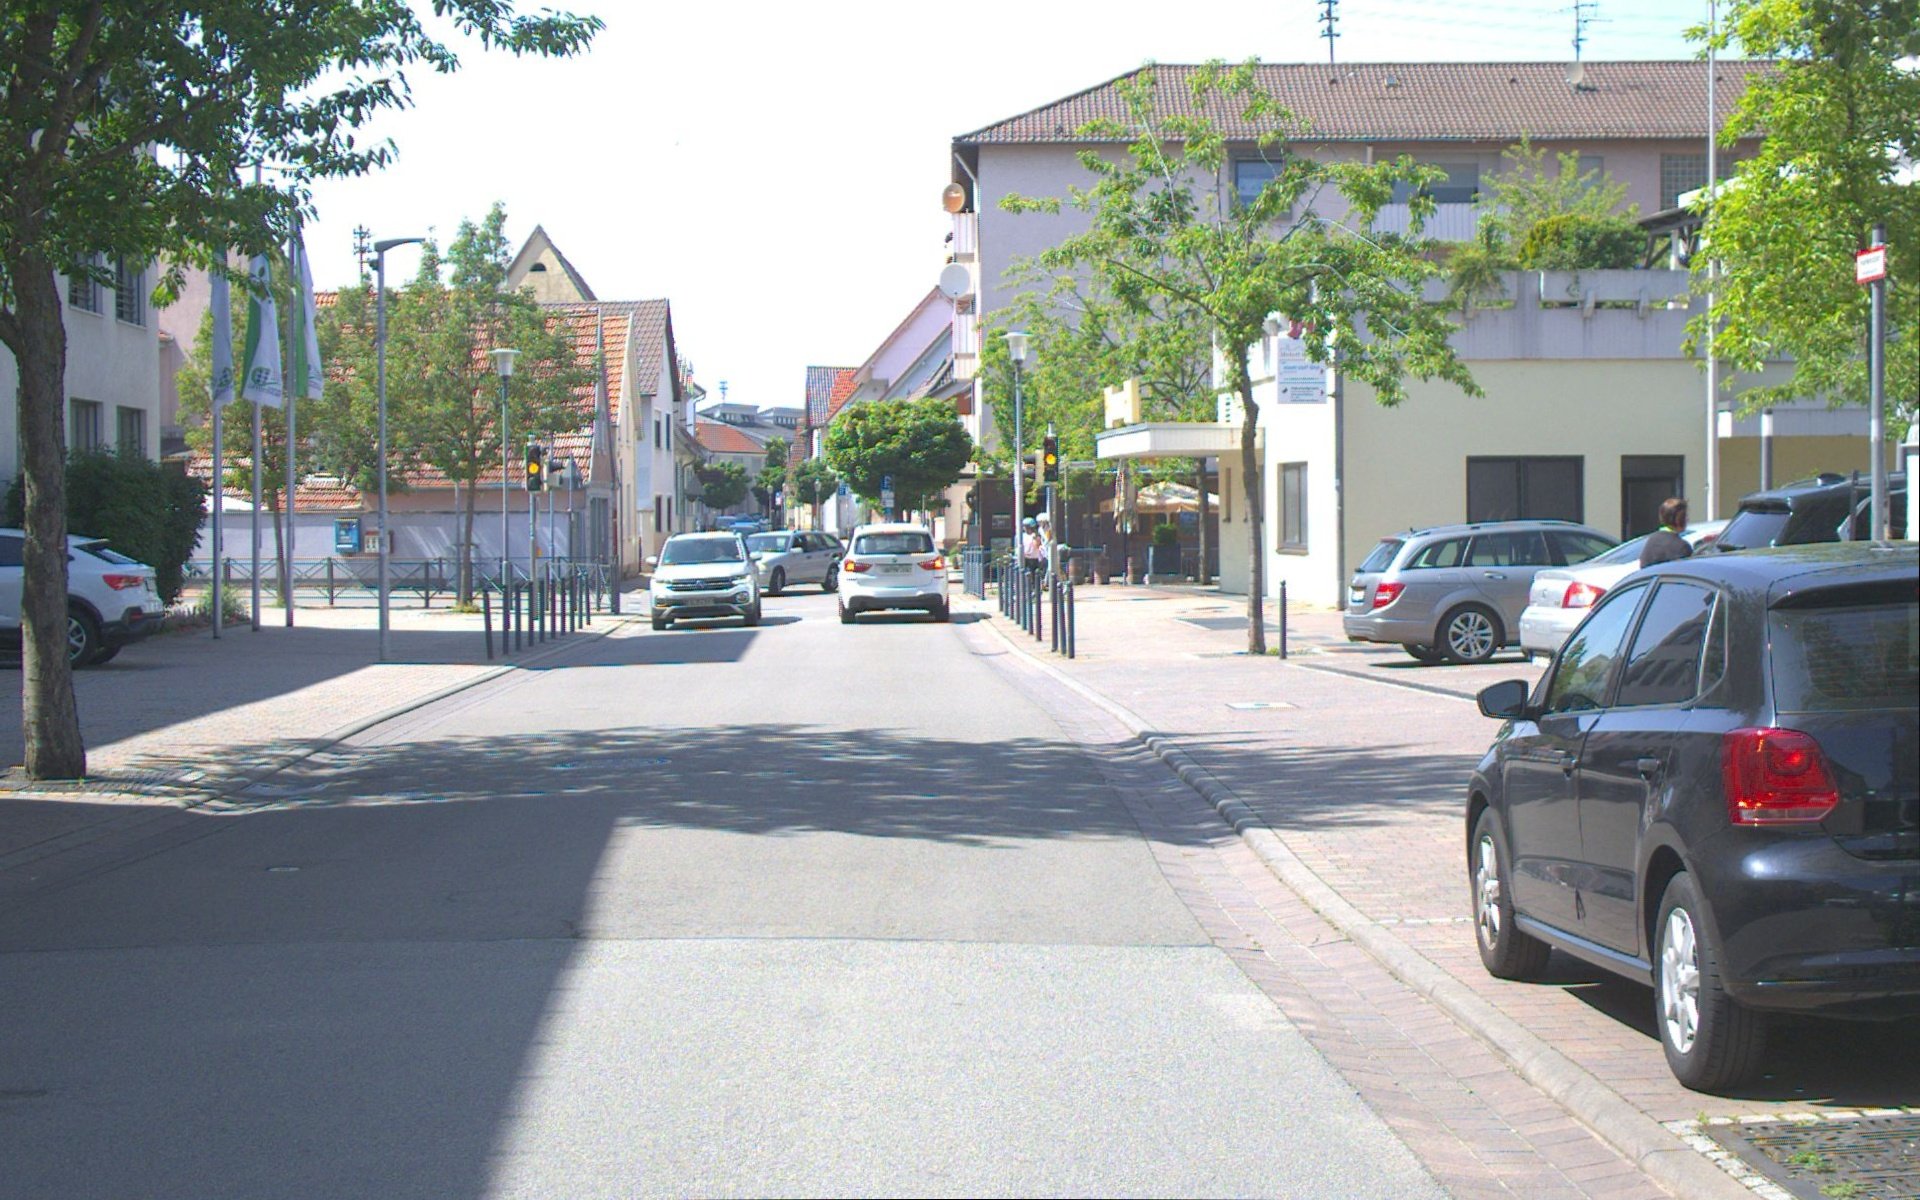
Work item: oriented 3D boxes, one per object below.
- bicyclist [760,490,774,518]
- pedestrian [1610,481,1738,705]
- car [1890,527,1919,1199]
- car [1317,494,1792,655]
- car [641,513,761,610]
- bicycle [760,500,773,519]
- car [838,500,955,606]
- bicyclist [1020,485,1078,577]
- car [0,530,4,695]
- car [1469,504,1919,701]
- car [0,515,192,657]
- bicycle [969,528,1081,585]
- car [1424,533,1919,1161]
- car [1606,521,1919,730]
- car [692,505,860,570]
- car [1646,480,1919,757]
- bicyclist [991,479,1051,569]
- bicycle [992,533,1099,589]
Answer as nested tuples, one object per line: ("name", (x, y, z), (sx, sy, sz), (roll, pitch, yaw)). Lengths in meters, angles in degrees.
("bicyclist", (-10.216, -5.087, 182.062), (0.673, 1.477, 0.770), (-1, 2, -3))
("pedestrian", (5.599, -0.060, 26.991), (0.748, 1.711, 0.699), (-2, 1, -8))
("car", (2.793, 0.618, 4.997), (1.717, 1.476, 4.096), (-1, 1, -1))
("car", (6.286, -0.288, 36.617), (4.574, 1.507, 1.917), (-2, 1, -7))
("car", (-4.356, -0.676, 58.363), (1.851, 1.568, 4.001), (0, 1, -2))
("bicycle", (-10.231, -4.797, 182.098), (0.664, 1.002, 1.898), (-1, 2, -3))
("car", (-1.066, -0.795, 57.500), (1.834, 1.646, 4.000), (2, 1, -1))
("bicyclist", (1.648, -1.272, 63.509), (0.759, 1.658, 0.671), (-3, 2, -32))
("car", (-11.090, 0.170, 30.795), (4.503, 1.548, 1.935), (-1, 2, -2))
("car", (6.676, -0.019, 28.363), (4.535, 1.435, 1.840), (-2, 1, -7))
("car", (-11.206, -0.197, 39.106), (4.506, 1.549, 2.148), (1, 1, -3))
("bicycle", (1.175, -0.789, 62.084), (1.890, 0.954, 0.676), (-3, 2, -27))
("car", (2.626, 0.575, 10.499), (1.703, 1.476, 3.922), (-1, 2, -3))
("car", (6.954, 0.142, 25.884), (3.728, 1.447, 1.745), (-2, 1, -7))
("car", (-4.222, -1.464, 79.530), (1.883, 1.459, 4.429), (0, 1, 28))
("car", (7.274, 0.037, 23.553), (4.630, 1.765, 2.148), (-2, 1, -2))
("bicyclist", (1.105, -1.376, 62.040), (0.759, 1.576, 0.671), (-5, 3, -27))
("bicycle", (1.582, -0.717, 63.476), (1.890, 0.954, 0.676), (-3, 2, -32))
